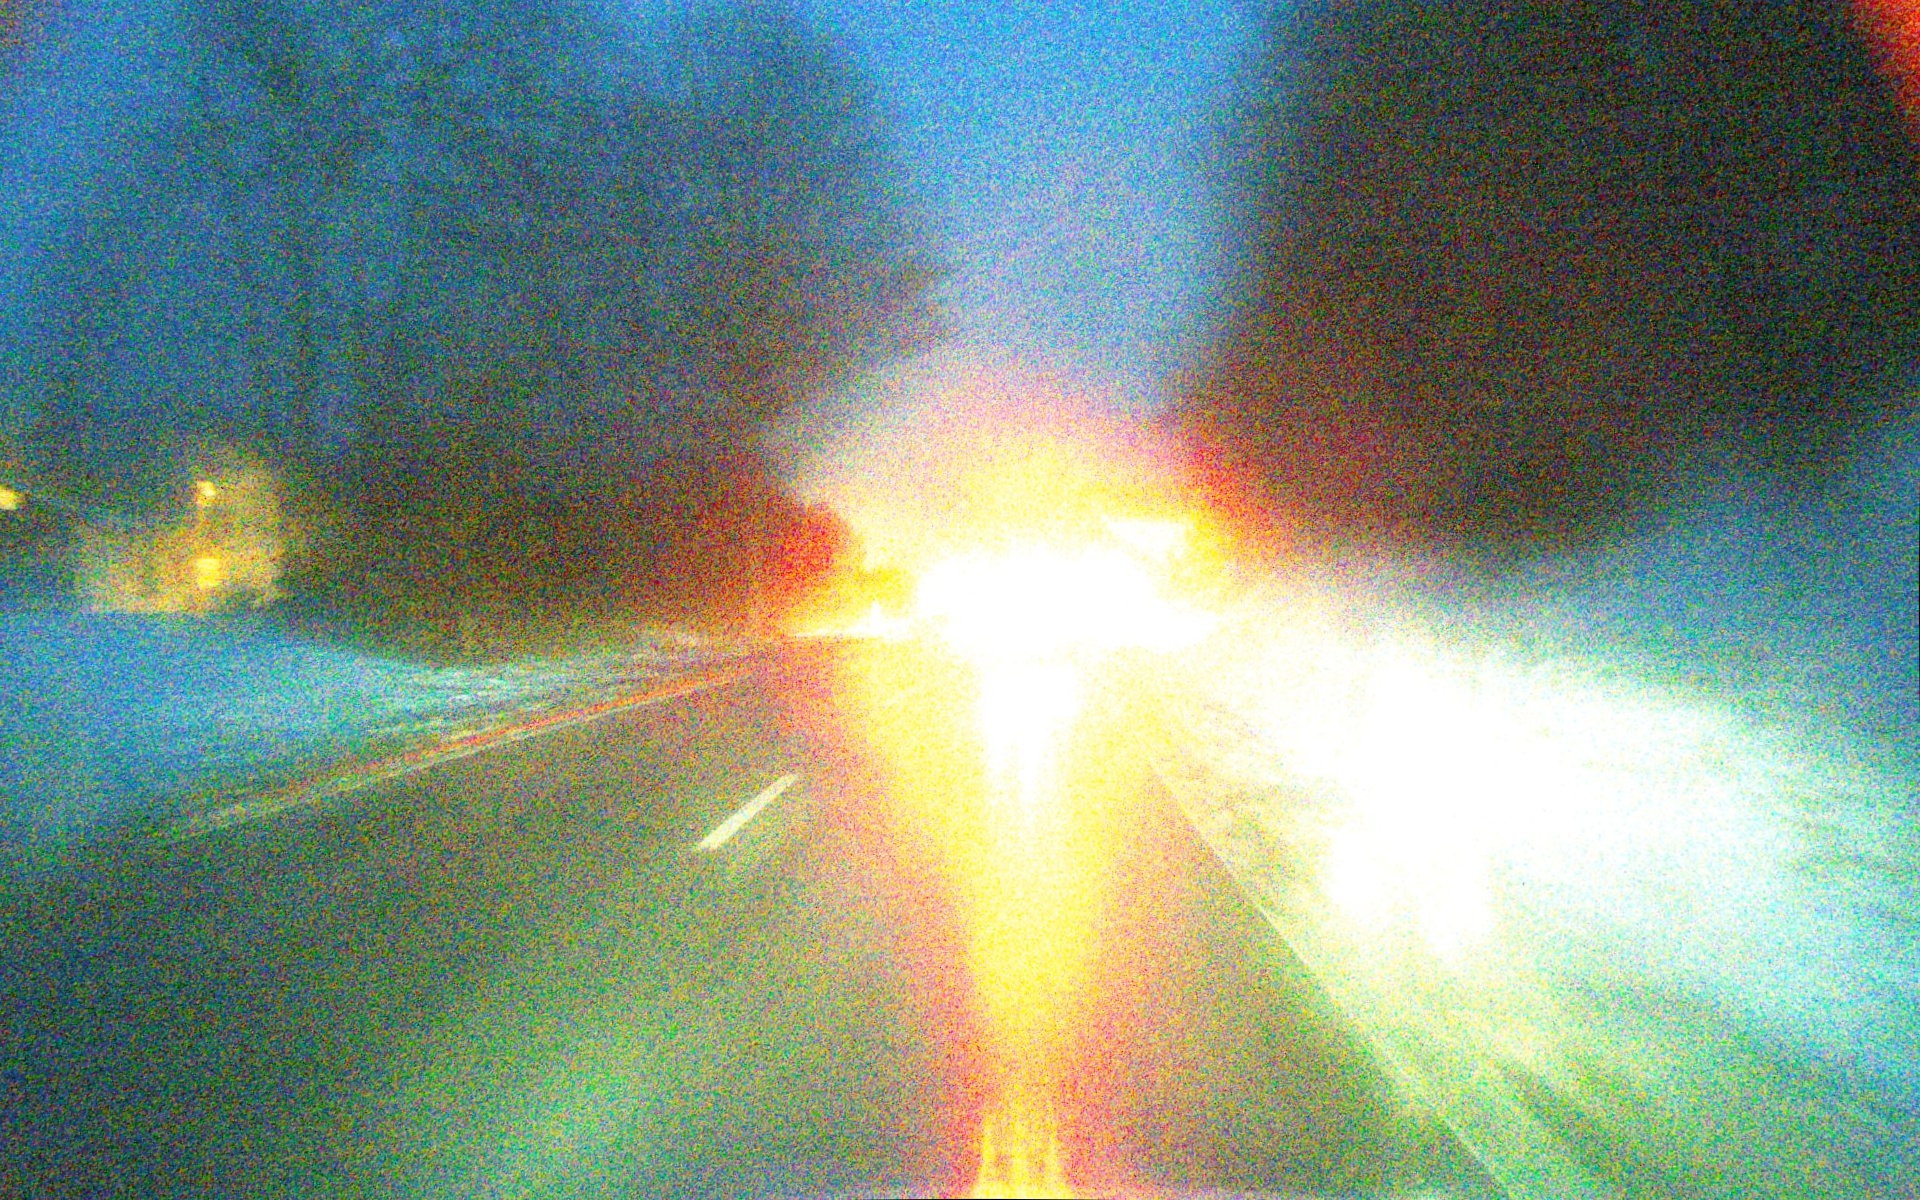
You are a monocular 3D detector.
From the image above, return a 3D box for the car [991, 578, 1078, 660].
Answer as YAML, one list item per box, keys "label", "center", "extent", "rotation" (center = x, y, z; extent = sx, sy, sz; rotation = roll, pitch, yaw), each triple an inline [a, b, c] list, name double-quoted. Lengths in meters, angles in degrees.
- label: "car"
  center: [1.606, 0.380, 35.413]
  extent: [1.764, 1.657, 3.617]
  rotation: [0, 0, 3]

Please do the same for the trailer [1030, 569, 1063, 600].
- label: "trailer"
  center: [6.899, -1.188, 131.859]
  extent: [1.577, 2.393, 4.419]
  rotation: [1, 0, -11]
